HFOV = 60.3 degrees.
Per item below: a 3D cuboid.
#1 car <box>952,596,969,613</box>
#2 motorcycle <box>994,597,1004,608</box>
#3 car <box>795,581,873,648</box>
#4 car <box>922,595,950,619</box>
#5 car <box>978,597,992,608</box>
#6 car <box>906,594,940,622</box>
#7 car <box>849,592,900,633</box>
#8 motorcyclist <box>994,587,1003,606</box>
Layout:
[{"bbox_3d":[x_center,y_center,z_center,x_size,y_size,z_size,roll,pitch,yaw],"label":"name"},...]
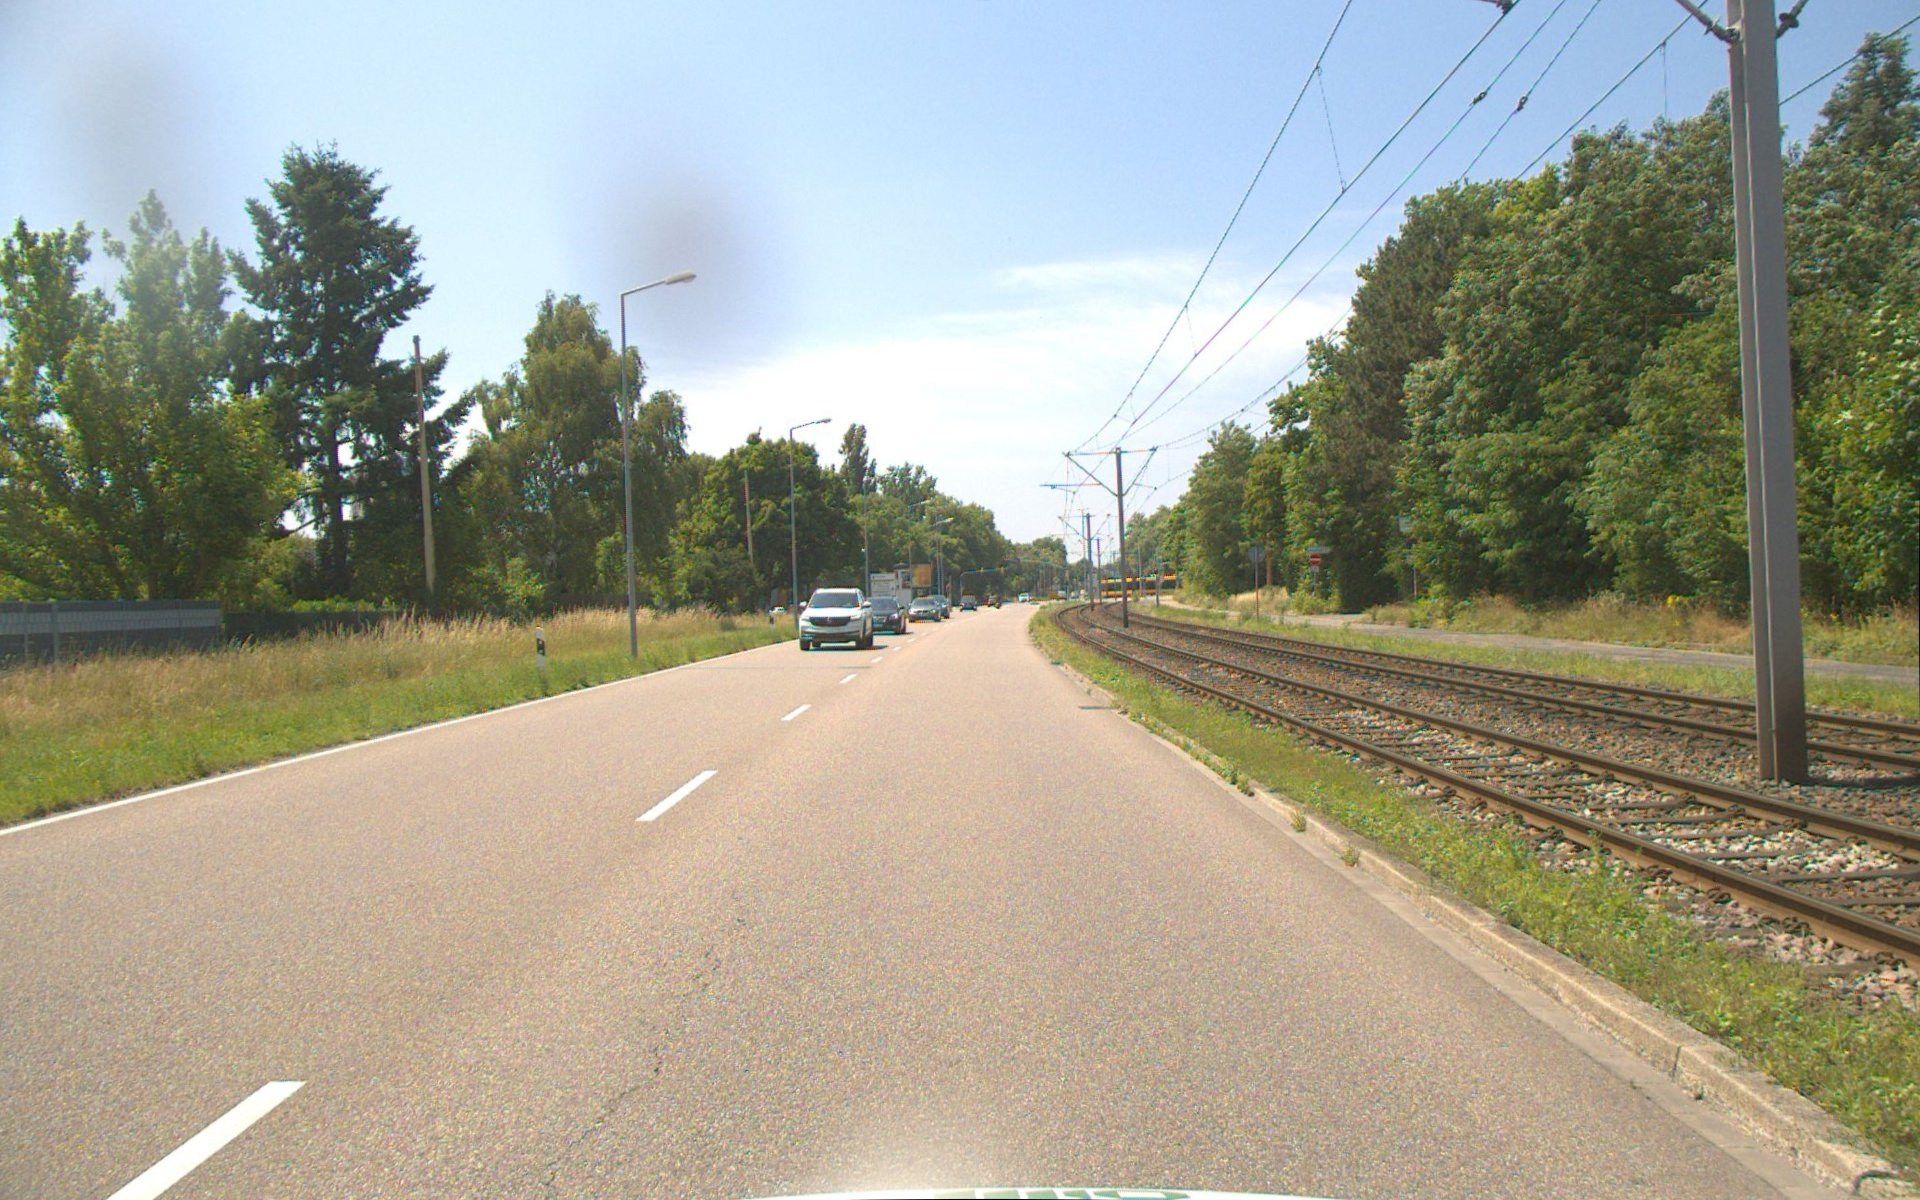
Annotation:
[{"bbox_3d":[0.035,0.450,157.951,1.594,1.516,4.363,-1,0,0],"label":"car"},{"bbox_3d":[4.149,0.244,175.775,0.950,1.137,2.733,-1,0,2],"label":"motorcycle"},{"bbox_3d":[-3.676,0.415,49.051,1.896,1.827,4.712,-1,0,0],"label":"car"},{"bbox_3d":[-1.597,0.461,112.679,1.780,1.565,4.363,-1,0,0],"label":"car"},{"bbox_3d":[3.435,0.391,223.271,1.593,1.419,4.366,-1,0,4],"label":"car"},{"bbox_3d":[-2.124,0.458,96.255,1.780,1.519,4.363,-1,0,0],"label":"car"},{"bbox_3d":[-3.423,0.500,66.834,1.780,1.555,4.363,-1,0,0],"label":"car"},{"bbox_3d":[4.095,-0.392,175.793,0.873,1.938,1.015,-1,0,2],"label":"motorcyclist"}]
